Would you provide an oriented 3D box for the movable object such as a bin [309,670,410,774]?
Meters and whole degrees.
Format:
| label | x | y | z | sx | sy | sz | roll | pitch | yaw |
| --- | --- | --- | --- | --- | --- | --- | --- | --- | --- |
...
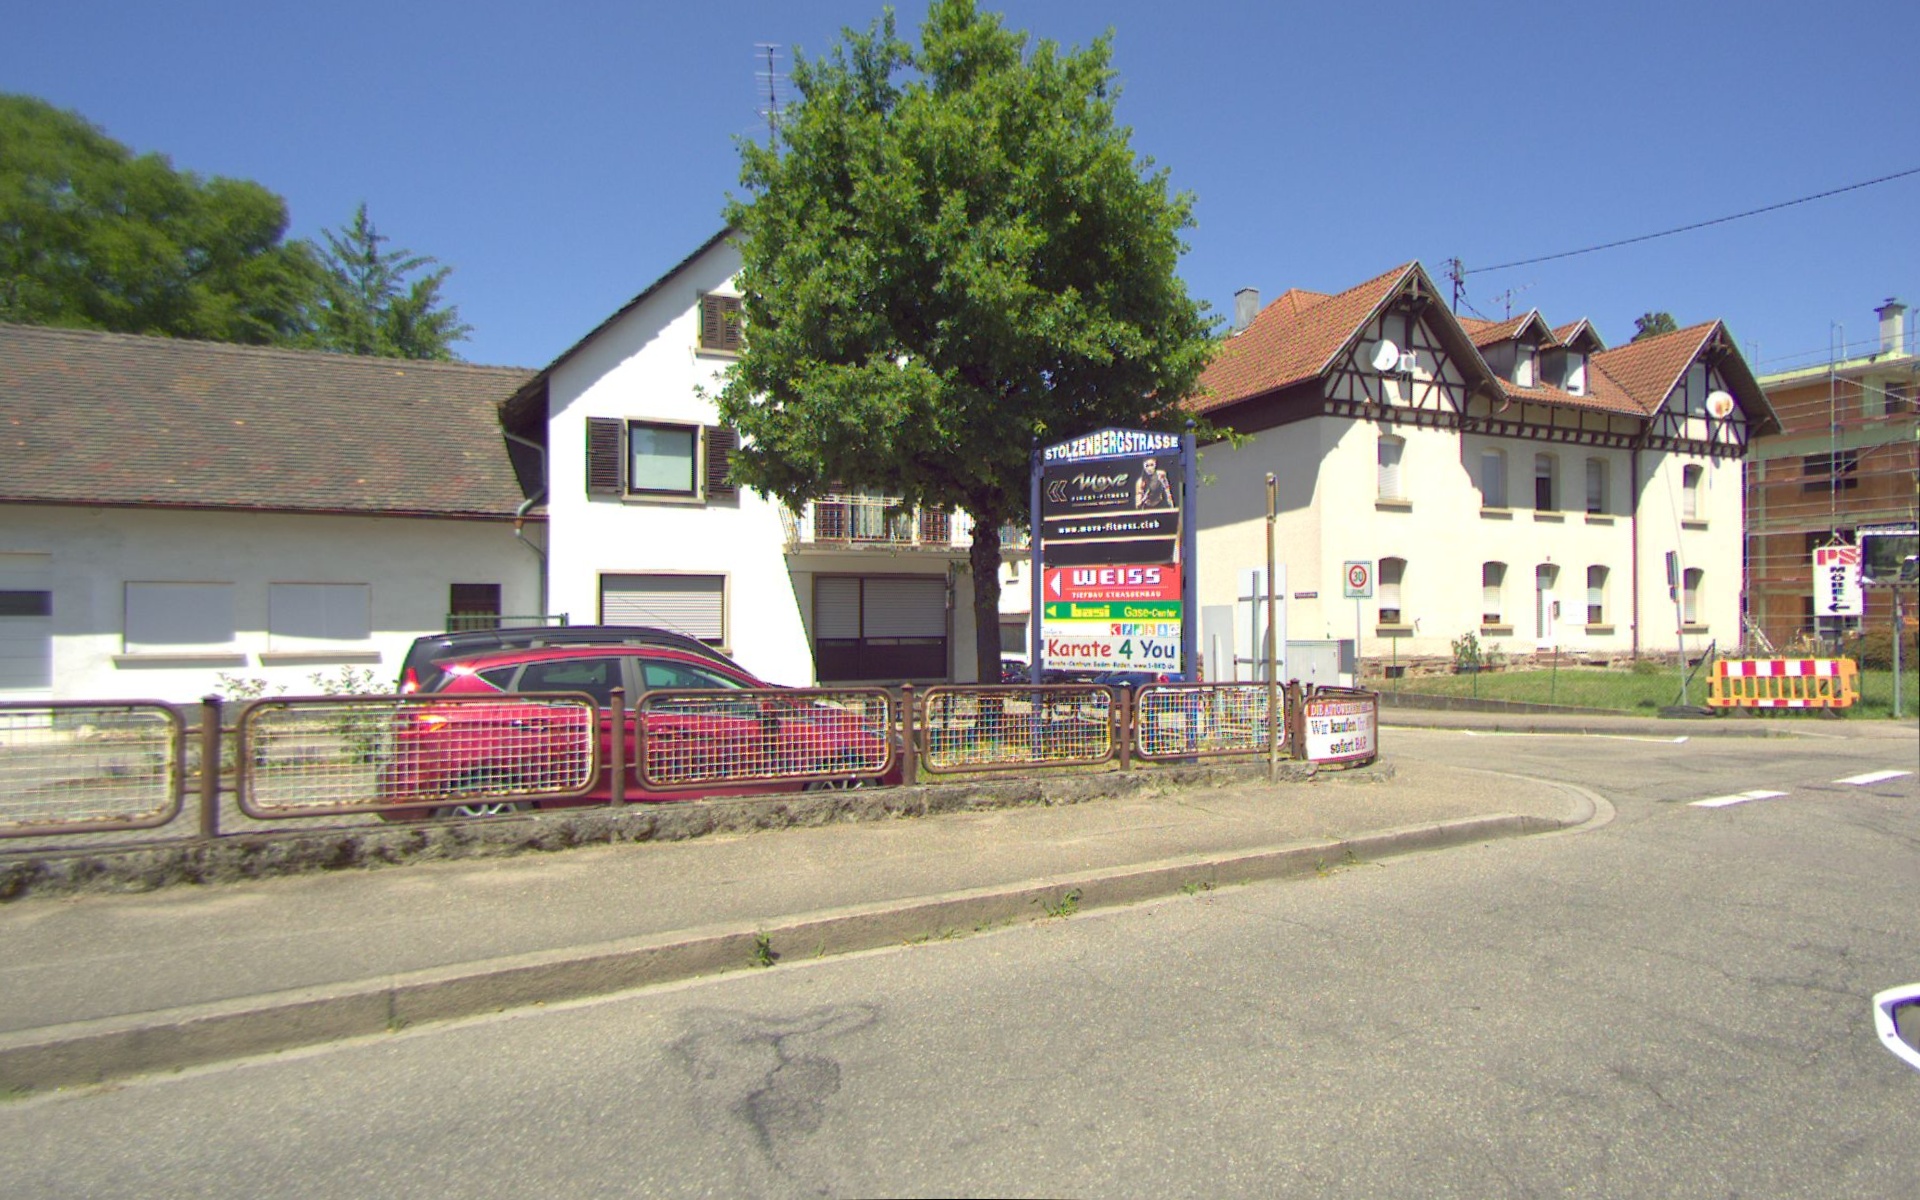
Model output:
| label | x | y | z | sx | sy | sz | roll | pitch | yaw |
| --- | --- | --- | --- | --- | --- | --- | --- | --- | --- |
| movable object such as a bin | -7.567 | 1.513 | 12.708 | 0.890 | 1.227 | 0.885 | 1 | -3 | -19 |

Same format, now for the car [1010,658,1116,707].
| label | x | y | z | sx | sy | sz | roll | pitch | yaw |
| --- | --- | --- | --- | --- | --- | --- | --- | --- | --- |
| car | 3.299 | 2.656 | 32.945 | 1.774 | 1.452 | 3.979 | 0 | -3 | -23 |

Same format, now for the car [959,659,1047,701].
| label | x | y | z | sx | sy | sz | roll | pitch | yaw |
| --- | --- | --- | --- | --- | --- | --- | --- | --- | --- |
| car | 1.534 | 2.936 | 37.510 | 1.774 | 1.452 | 3.979 | 0 | -3 | -23 |

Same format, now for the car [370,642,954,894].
| label | x | y | z | sx | sy | sz | roll | pitch | yaw |
| --- | --- | --- | --- | --- | --- | --- | --- | --- | --- |
| car | -2.202 | 1.106 | 7.843 | 3.946 | 1.538 | 1.789 | 1 | -3 | -25 |

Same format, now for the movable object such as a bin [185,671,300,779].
| label | x | y | z | sx | sy | sz | roll | pitch | yaw |
| --- | --- | --- | --- | --- | --- | --- | --- | --- | --- |
| movable object such as a bin | -8.752 | 1.503 | 12.299 | 0.890 | 1.227 | 0.885 | 1 | -3 | -19 |

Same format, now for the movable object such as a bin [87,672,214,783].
| label | x | y | z | sx | sy | sz | roll | pitch | yaw |
| --- | --- | --- | --- | --- | --- | --- | --- | --- | --- |
| movable object such as a bin | -9.622 | 1.489 | 11.988 | 0.890 | 1.227 | 0.885 | 1 | -3 | -19 |

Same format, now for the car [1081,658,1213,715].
| label | x | y | z | sx | sy | sz | roll | pitch | yaw |
| --- | --- | --- | --- | --- | --- | --- | --- | --- | --- |
| car | 5.172 | 2.385 | 28.349 | 1.774 | 1.452 | 3.979 | 0 | -3 | -23 |

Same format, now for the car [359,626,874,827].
| label | x | y | z | sx | sy | sz | roll | pitch | yaw |
| --- | --- | --- | --- | --- | --- | --- | --- | --- | --- |
| car | -3.309 | 1.146 | 10.242 | 4.556 | 1.700 | 1.791 | 1 | -3 | -22 |
